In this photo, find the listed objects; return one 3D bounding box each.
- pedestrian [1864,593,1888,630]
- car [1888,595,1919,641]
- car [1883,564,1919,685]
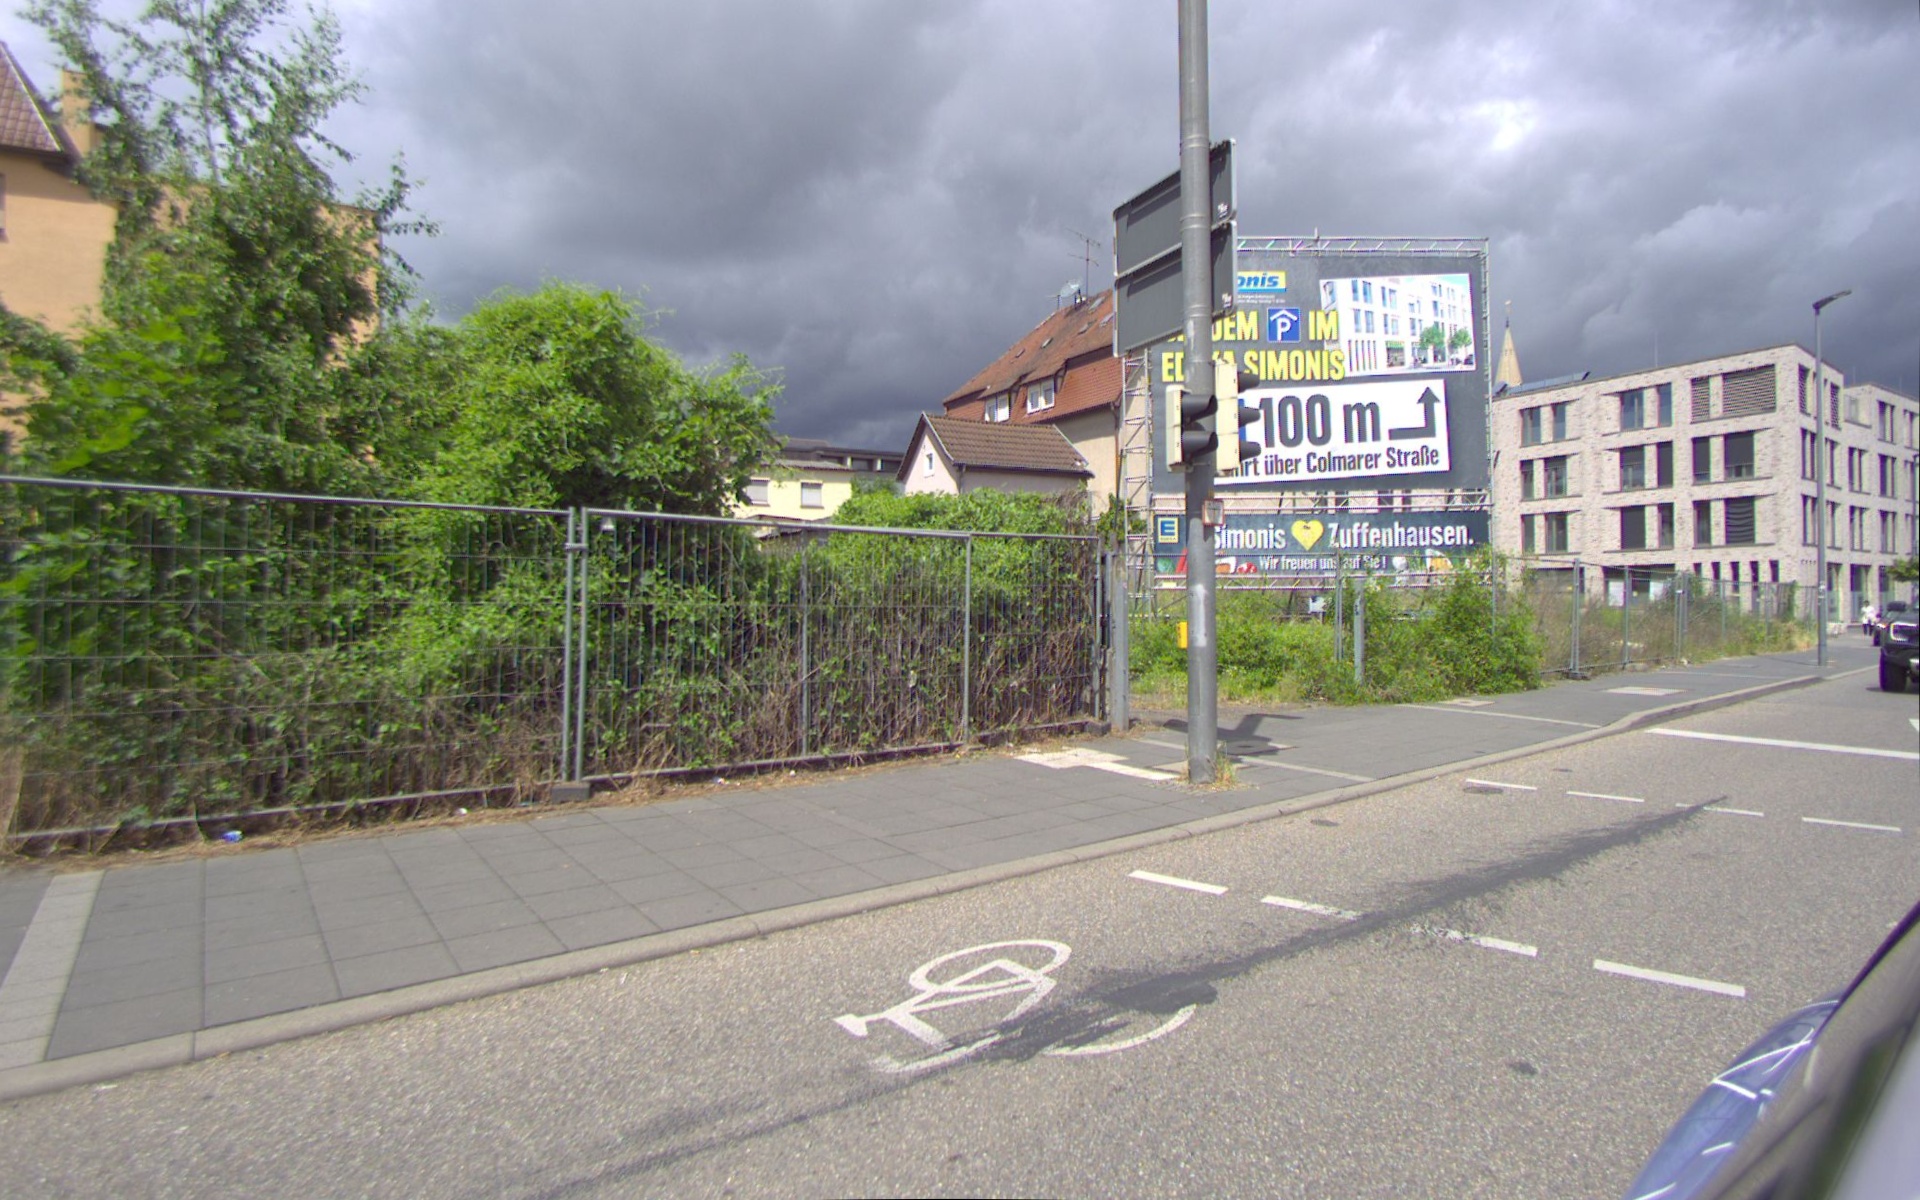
[{"bbox_3d":[38.445,0.479,42.476,0.769,1.531,0.673,1,0,-41],"label":"pedestrian"},{"bbox_3d":[32.737,0.600,34.022,3.726,1.441,1.678,-1,2,-39],"label":"car"},{"bbox_3d":[17.463,0.364,17.015,5.056,1.910,2.005,-1,2,-37],"label":"car"}]
